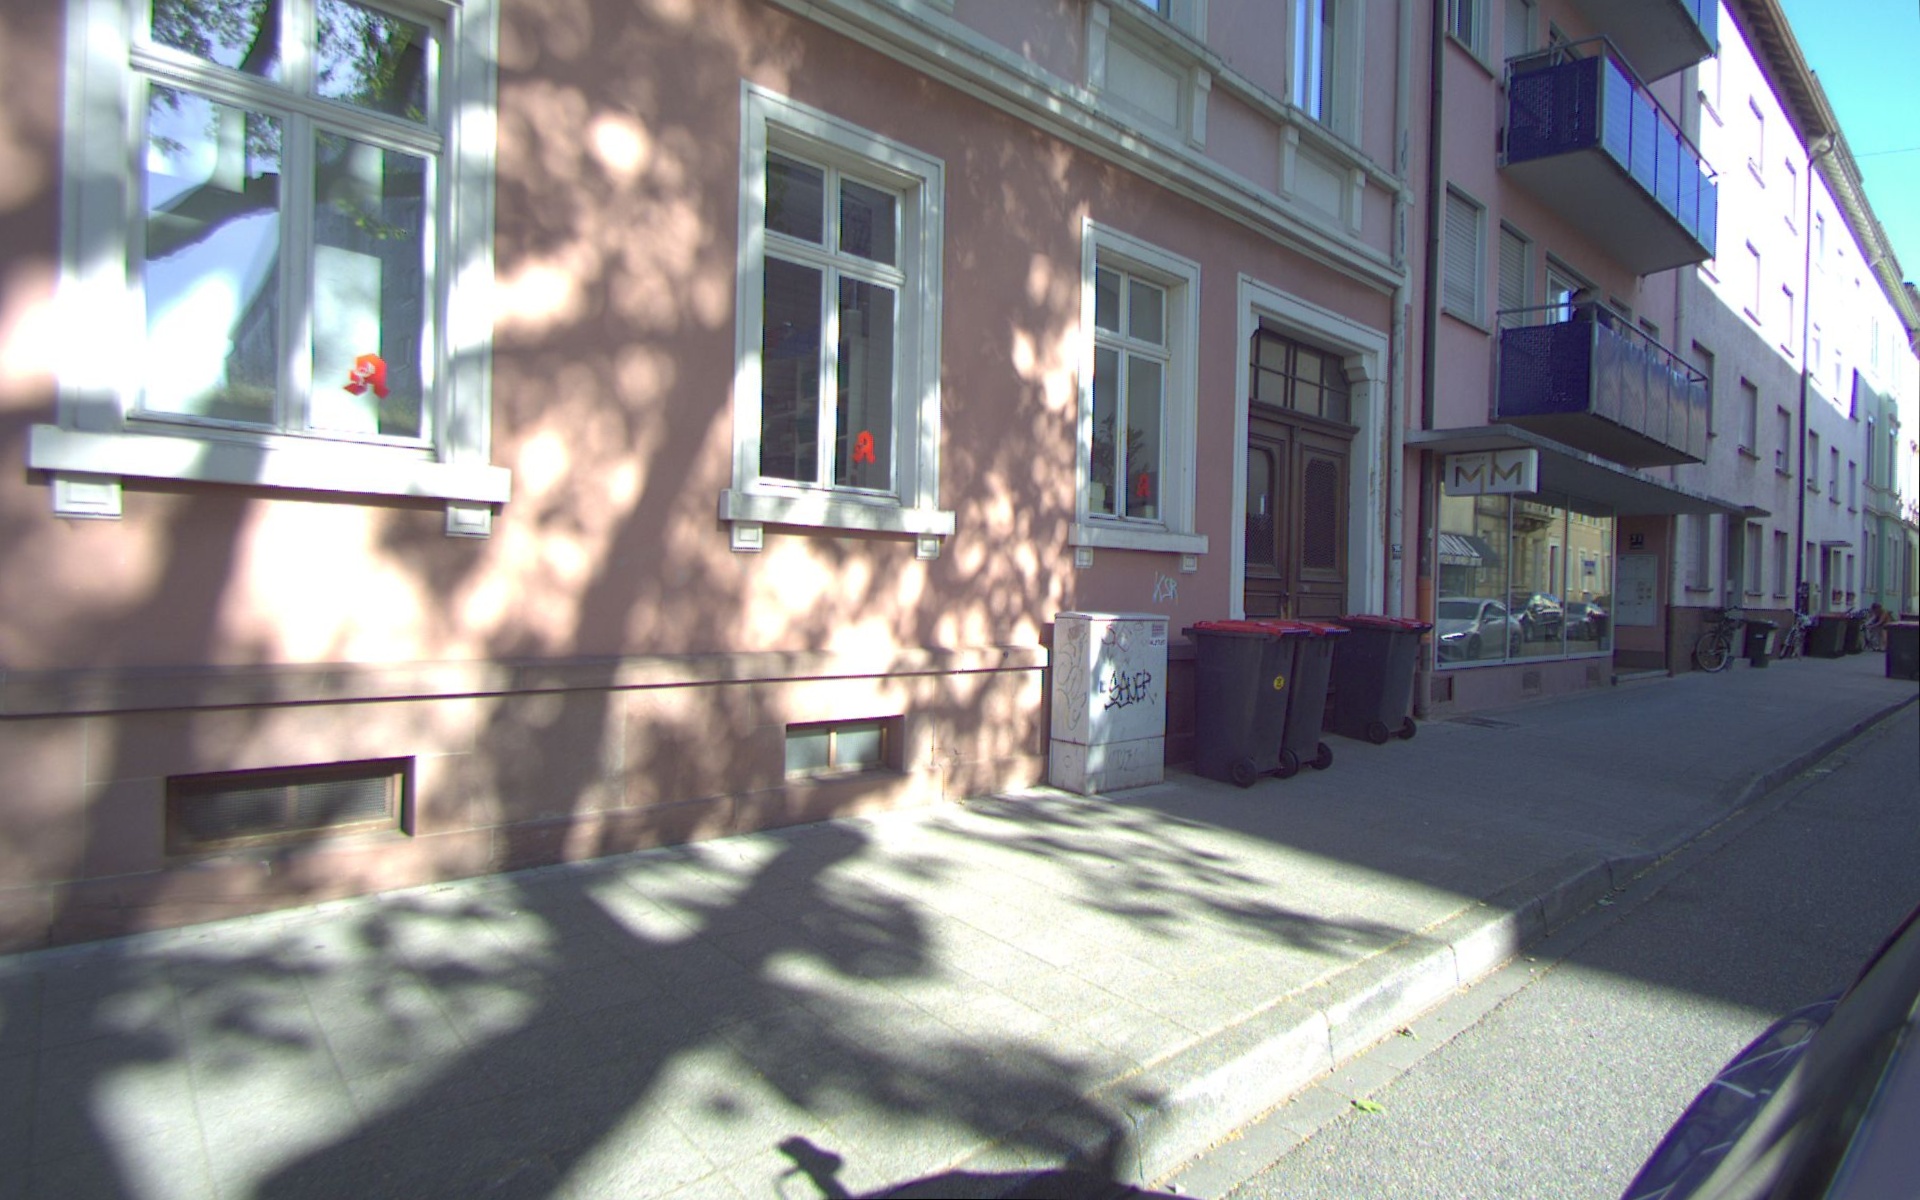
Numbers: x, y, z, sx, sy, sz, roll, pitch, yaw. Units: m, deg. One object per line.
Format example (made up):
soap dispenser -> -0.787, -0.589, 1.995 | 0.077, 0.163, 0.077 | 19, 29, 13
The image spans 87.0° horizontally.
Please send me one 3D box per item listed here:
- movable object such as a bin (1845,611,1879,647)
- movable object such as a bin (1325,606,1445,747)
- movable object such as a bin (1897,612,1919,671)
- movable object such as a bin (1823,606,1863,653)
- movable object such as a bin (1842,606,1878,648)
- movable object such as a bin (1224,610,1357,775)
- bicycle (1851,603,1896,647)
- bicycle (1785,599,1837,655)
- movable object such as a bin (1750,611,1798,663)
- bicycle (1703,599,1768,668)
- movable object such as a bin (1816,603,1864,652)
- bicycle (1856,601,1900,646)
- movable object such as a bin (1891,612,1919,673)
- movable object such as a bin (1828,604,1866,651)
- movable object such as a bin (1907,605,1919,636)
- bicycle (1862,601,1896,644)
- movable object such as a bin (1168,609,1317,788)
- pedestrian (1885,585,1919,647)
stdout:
movable object such as a bin -> 24.668, 0.784, 27.668 | 0.597, 0.936, 0.578 | 0, 3, -41
movable object such as a bin -> 3.664, 0.622, 8.730 | 0.681, 1.117, 0.730 | 0, 1, -43
movable object such as a bin -> 18.306, 0.783, 19.172 | 0.691, 1.094, 0.734 | 0, 1, -40
movable object such as a bin -> 21.822, 0.712, 25.012 | 0.582, 1.119, 0.658 | 1, 1, -40
movable object such as a bin -> 24.240, 0.713, 27.249 | 0.592, 1.075, 0.617 | 1, 2, -42
movable object such as a bin -> 2.376, 0.631, 7.295 | 0.586, 1.086, 0.703 | 0, 1, -39
bicycle -> 25.664, 0.674, 28.421 | 1.833, 1.168, 0.570 | 0, 1, -37
bicycle -> 19.263, 0.598, 22.883 | 2.041, 1.184, 0.538 | 1, 5, -42
movable object such as a bin -> 15.762, 0.707, 19.601 | 0.670, 0.963, 0.599 | 0, 1, -40
bicycle -> 13.703, 0.566, 17.868 | 1.885, 1.148, 0.454 | 0, 3, -40
movable object such as a bin -> 21.398, 0.661, 24.610 | 0.628, 1.110, 0.741 | 0, 4, -40
bicycle -> 26.454, 0.656, 29.145 | 2.223, 1.221, 0.439 | 0, 1, -35
movable object such as a bin -> 17.789, 0.782, 18.698 | 0.681, 1.100, 0.769 | 0, 1, -40
movable object such as a bin -> 22.243, 0.682, 25.370 | 0.559, 1.136, 0.629 | 0, 1, -40
movable object such as a bin -> 35.350, 0.749, 37.130 | 0.661, 1.102, 0.814 | 0, 1, -39
bicycle -> 27.352, 0.642, 30.113 | 2.120, 1.221, 0.406 | 0, 1, -39
movable object such as a bin -> 1.913, 0.628, 6.881 | 0.623, 1.099, 0.747 | 0, 1, -39
pedestrian -> 26.831, 0.440, 28.704 | 0.672, 1.733, 0.658 | 0, 1, -29
